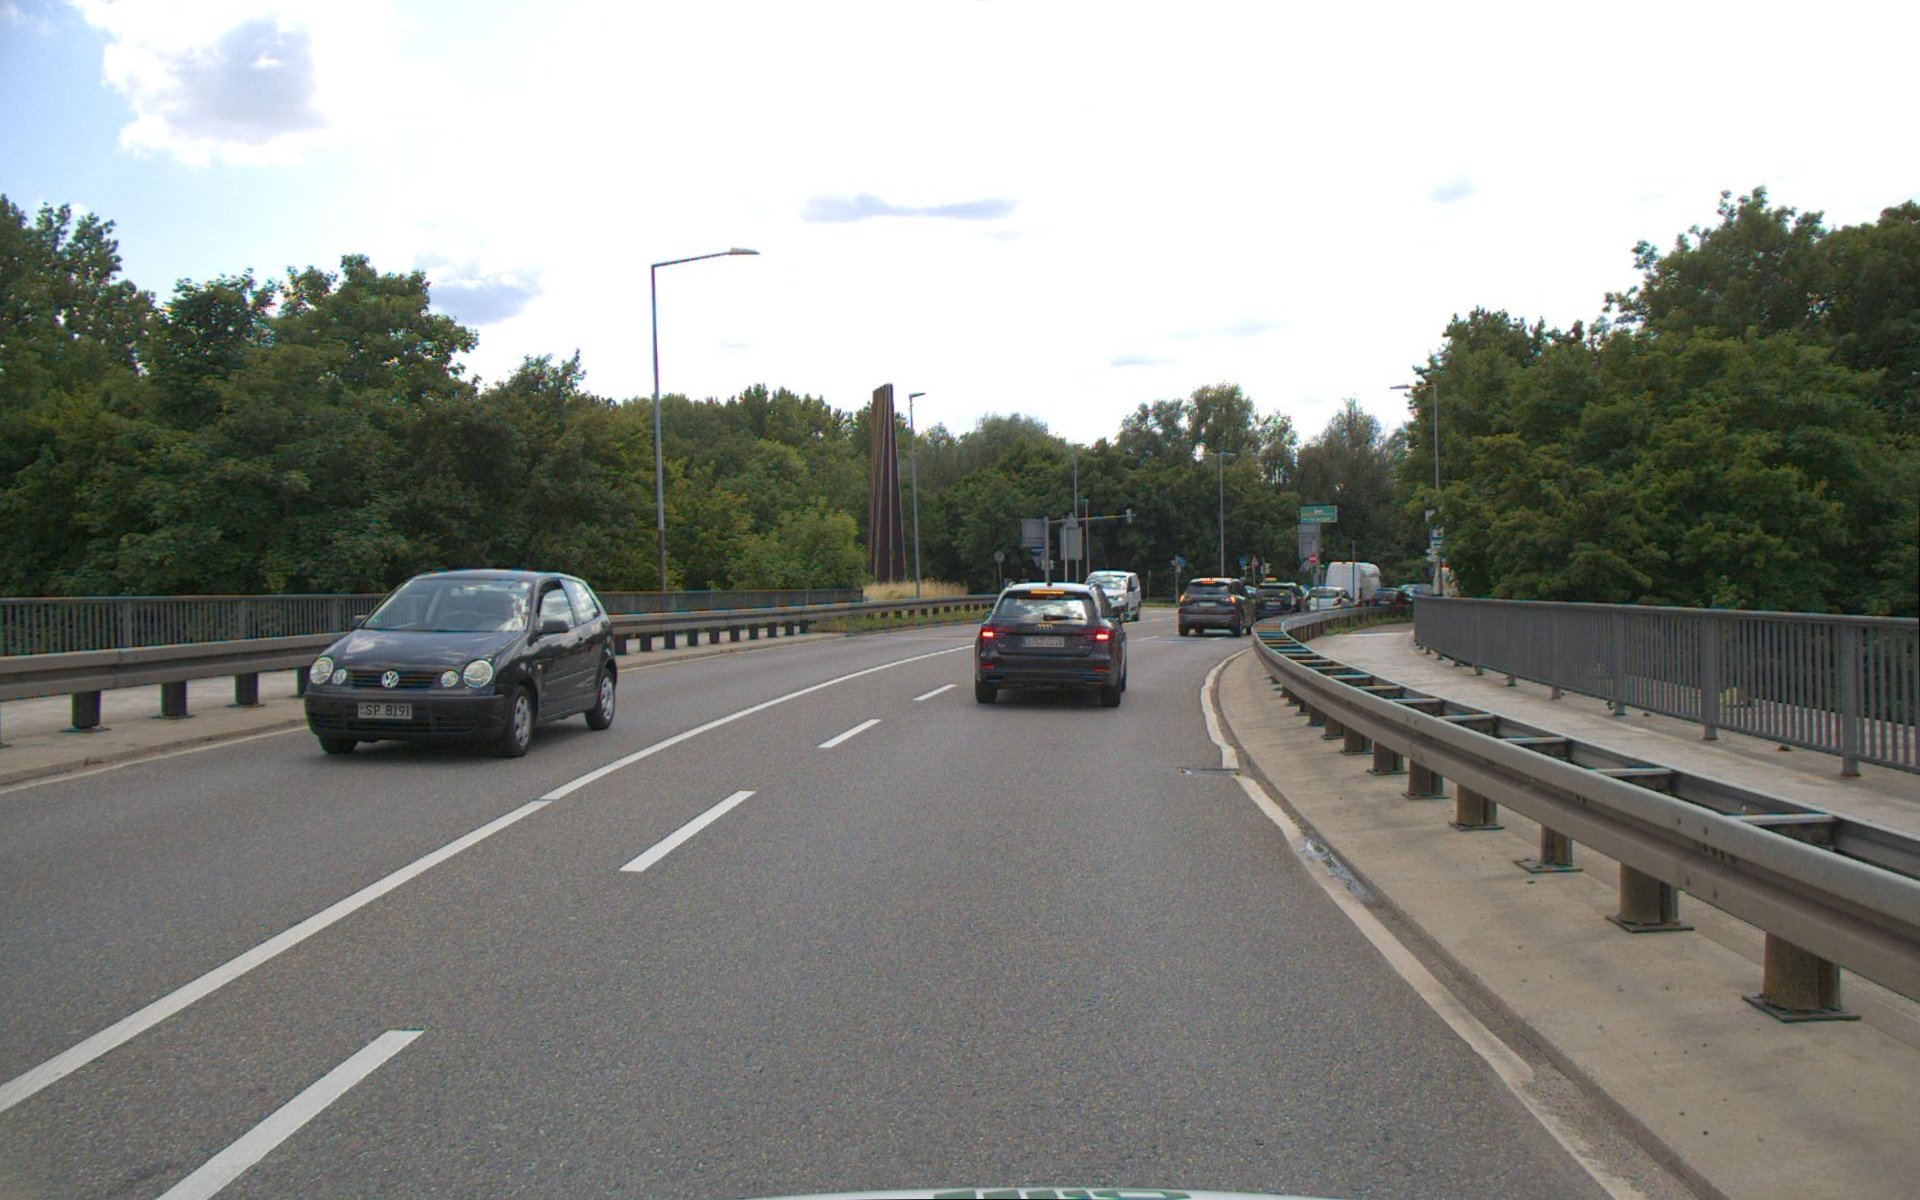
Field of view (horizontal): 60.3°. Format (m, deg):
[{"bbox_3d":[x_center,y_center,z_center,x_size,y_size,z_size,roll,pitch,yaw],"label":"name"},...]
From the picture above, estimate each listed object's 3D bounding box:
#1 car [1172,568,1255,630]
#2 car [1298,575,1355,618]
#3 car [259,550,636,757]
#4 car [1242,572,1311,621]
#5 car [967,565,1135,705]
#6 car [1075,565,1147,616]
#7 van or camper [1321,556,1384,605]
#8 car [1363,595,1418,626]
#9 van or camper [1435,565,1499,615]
[{"bbox_3d":[7.456,-0.045,48.380,1.783,1.680,3.858,2,1,18],"label":"car"},{"bbox_3d":[15.153,-0.138,68.299,1.698,1.680,3.855,2,0,22],"label":"car"},{"bbox_3d":[-4.157,0.362,14.118,1.776,1.477,3.928,1,1,3],"label":"car"},{"bbox_3d":[11.397,-0.144,59.381,1.698,1.680,3.855,1,1,22],"label":"car"},{"bbox_3d":[1.253,0.346,20.966,1.789,1.517,4.210,2,2,7],"label":"car"},{"bbox_3d":[5.673,-0.368,61.696,1.775,1.784,4.308,2,1,17],"label":"car"},{"bbox_3d":[20.255,-1.035,85.244,2.227,2.381,5.239,2,2,24],"label":"van or camper"},{"bbox_3d":[20.738,0.477,79.628,1.652,1.422,3.671,1,0,30],"label":"car"},{"bbox_3d":[27.576,-0.561,89.906,1.961,2.635,4.072,2,2,37],"label":"van or camper"}]
